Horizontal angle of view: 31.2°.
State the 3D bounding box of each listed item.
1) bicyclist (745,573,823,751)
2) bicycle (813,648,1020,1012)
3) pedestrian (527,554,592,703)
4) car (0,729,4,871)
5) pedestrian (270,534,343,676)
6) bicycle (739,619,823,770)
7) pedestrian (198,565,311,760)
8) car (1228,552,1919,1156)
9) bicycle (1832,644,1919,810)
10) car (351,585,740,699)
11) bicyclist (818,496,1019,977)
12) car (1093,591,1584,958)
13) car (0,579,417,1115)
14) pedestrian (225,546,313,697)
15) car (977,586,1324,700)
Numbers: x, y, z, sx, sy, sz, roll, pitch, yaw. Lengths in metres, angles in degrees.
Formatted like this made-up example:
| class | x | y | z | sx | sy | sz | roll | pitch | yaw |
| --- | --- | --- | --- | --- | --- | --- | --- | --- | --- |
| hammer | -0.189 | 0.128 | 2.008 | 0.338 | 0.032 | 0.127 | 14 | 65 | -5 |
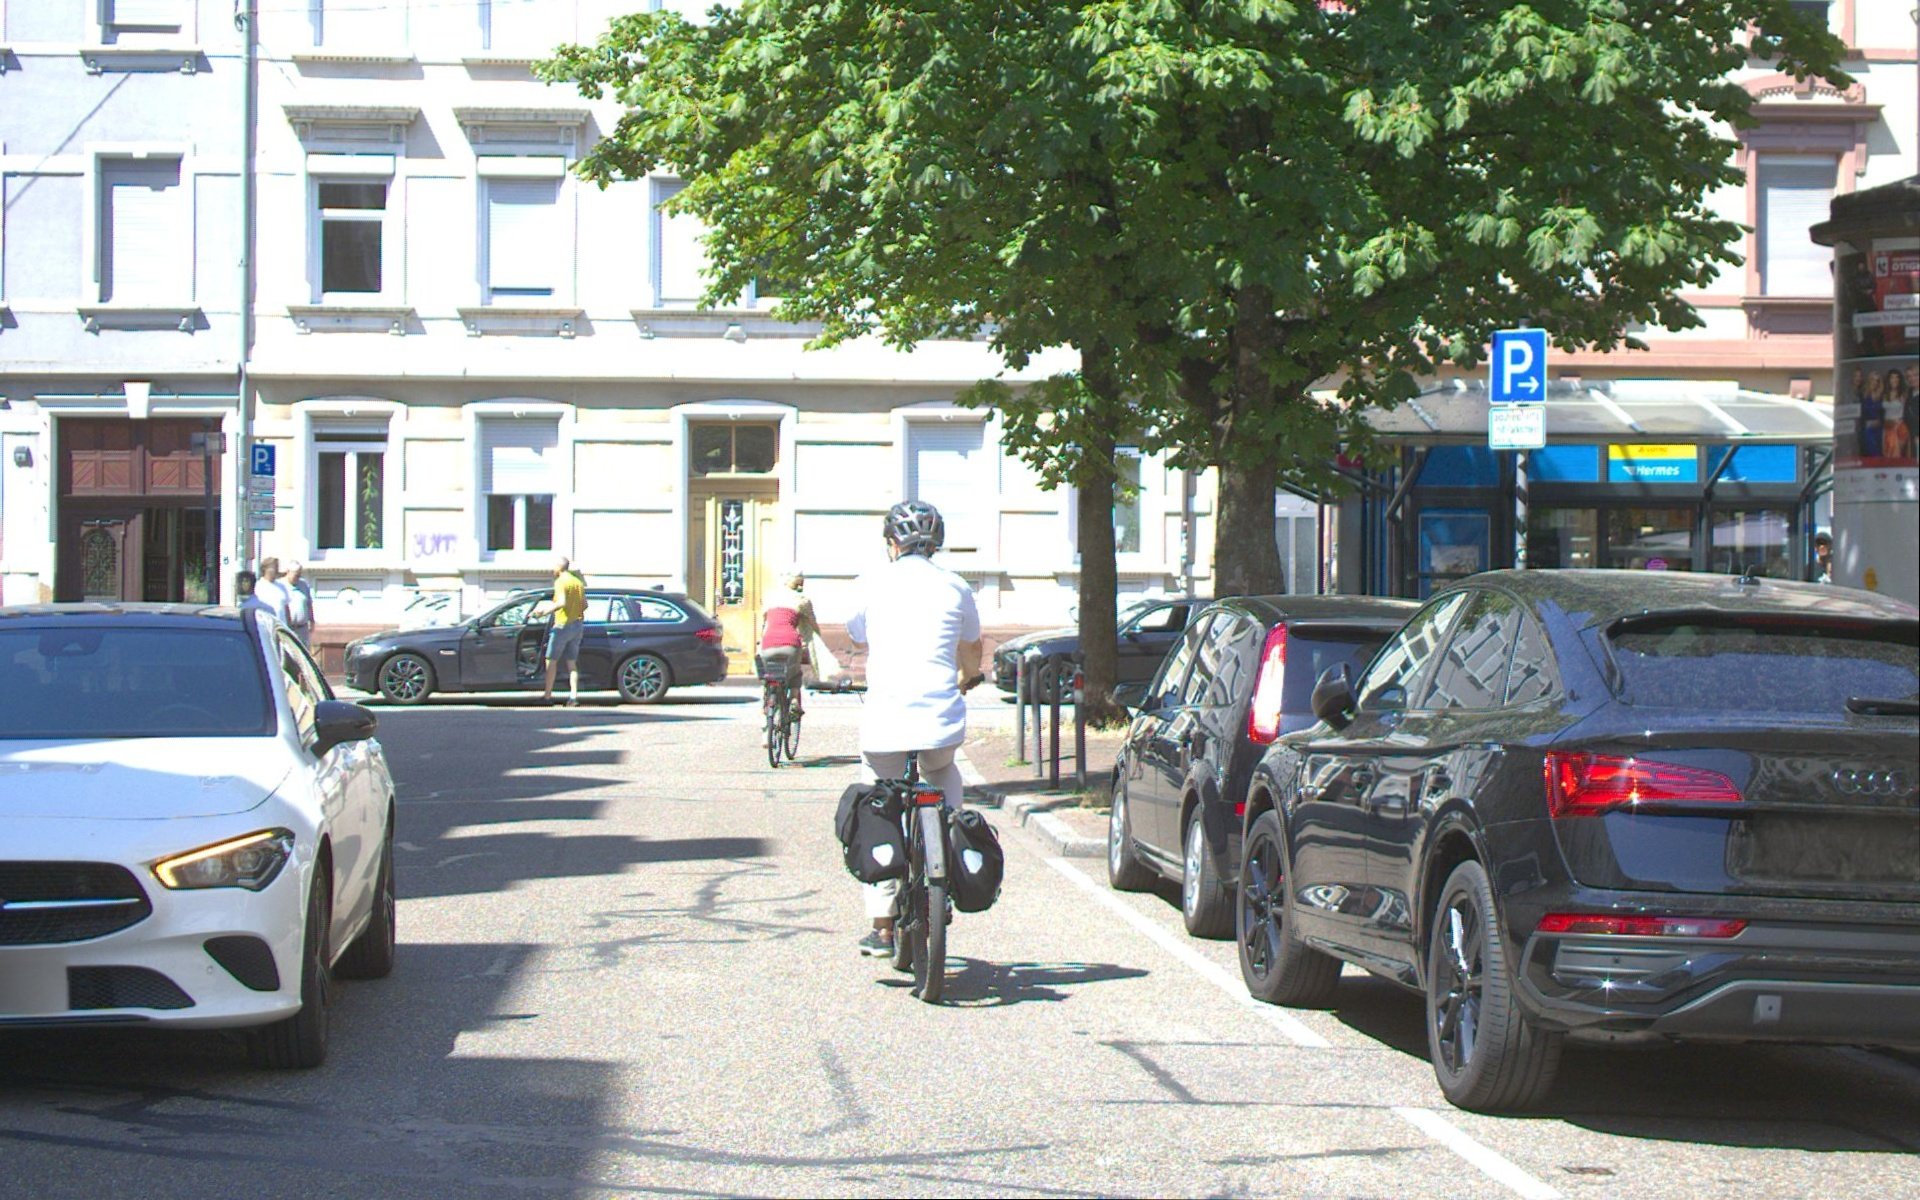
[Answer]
| class | x | y | z | sx | sy | sz | roll | pitch | yaw |
| --- | --- | --- | --- | --- | --- | --- | --- | --- | --- |
| bicyclist | -1.520 | 0.529 | 29.711 | 0.670 | 1.528 | 0.609 | 0 | 0 | -3 |
| bicycle | -0.206 | 0.833 | 13.374 | 0.651 | 1.224 | 2.442 | 2 | 0 | -3 |
| pedestrian | -5.000 | 0.351 | 42.885 | 0.724 | 1.847 | 0.685 | 0 | 0 | -14 |
| car | -5.773 | 0.808 | 16.232 | 1.701 | 1.348 | 4.516 | -2 | 0 | -6 |
| pedestrian | -8.406 | 0.062 | 44.250 | 0.901 | 1.808 | 0.960 | 0 | 0 | -9 |
| bicycle | -1.545 | 0.790 | 29.656 | 0.651 | 1.205 | 2.442 | 2 | 0 | -3 |
| pedestrian | -6.096 | 0.531 | 29.718 | 0.857 | 1.666 | 0.774 | 0 | 0 | -4 |
| car | 2.180 | 0.690 | 11.469 | 1.735 | 1.591 | 4.349 | 3 | 0 | -6 |
| bicycle | 6.642 | 0.803 | 22.109 | 1.900 | 1.035 | 0.634 | 0 | 0 | -3 |
| car | -5.269 | 0.523 | 44.203 | 4.858 | 1.432 | 2.000 | 0 | 0 | -4 |
| bicyclist | -0.166 | 0.504 | 13.015 | 0.670 | 1.754 | 0.609 | 2 | 0 | -3 |
| car | 1.750 | 0.766 | 17.212 | 1.663 | 1.535 | 4.178 | 3 | 0 | -4 |
| car | -2.963 | 0.688 | 11.623 | 1.841 | 1.456 | 4.363 | -2 | 0 | -4 |
| pedestrian | -8.709 | 0.261 | 43.369 | 0.850 | 1.882 | 0.935 | 0 | 0 | 7 |
| car | 2.435 | 0.538 | 44.665 | 4.293 | 1.365 | 1.807 | 0 | 3 | -4 |
